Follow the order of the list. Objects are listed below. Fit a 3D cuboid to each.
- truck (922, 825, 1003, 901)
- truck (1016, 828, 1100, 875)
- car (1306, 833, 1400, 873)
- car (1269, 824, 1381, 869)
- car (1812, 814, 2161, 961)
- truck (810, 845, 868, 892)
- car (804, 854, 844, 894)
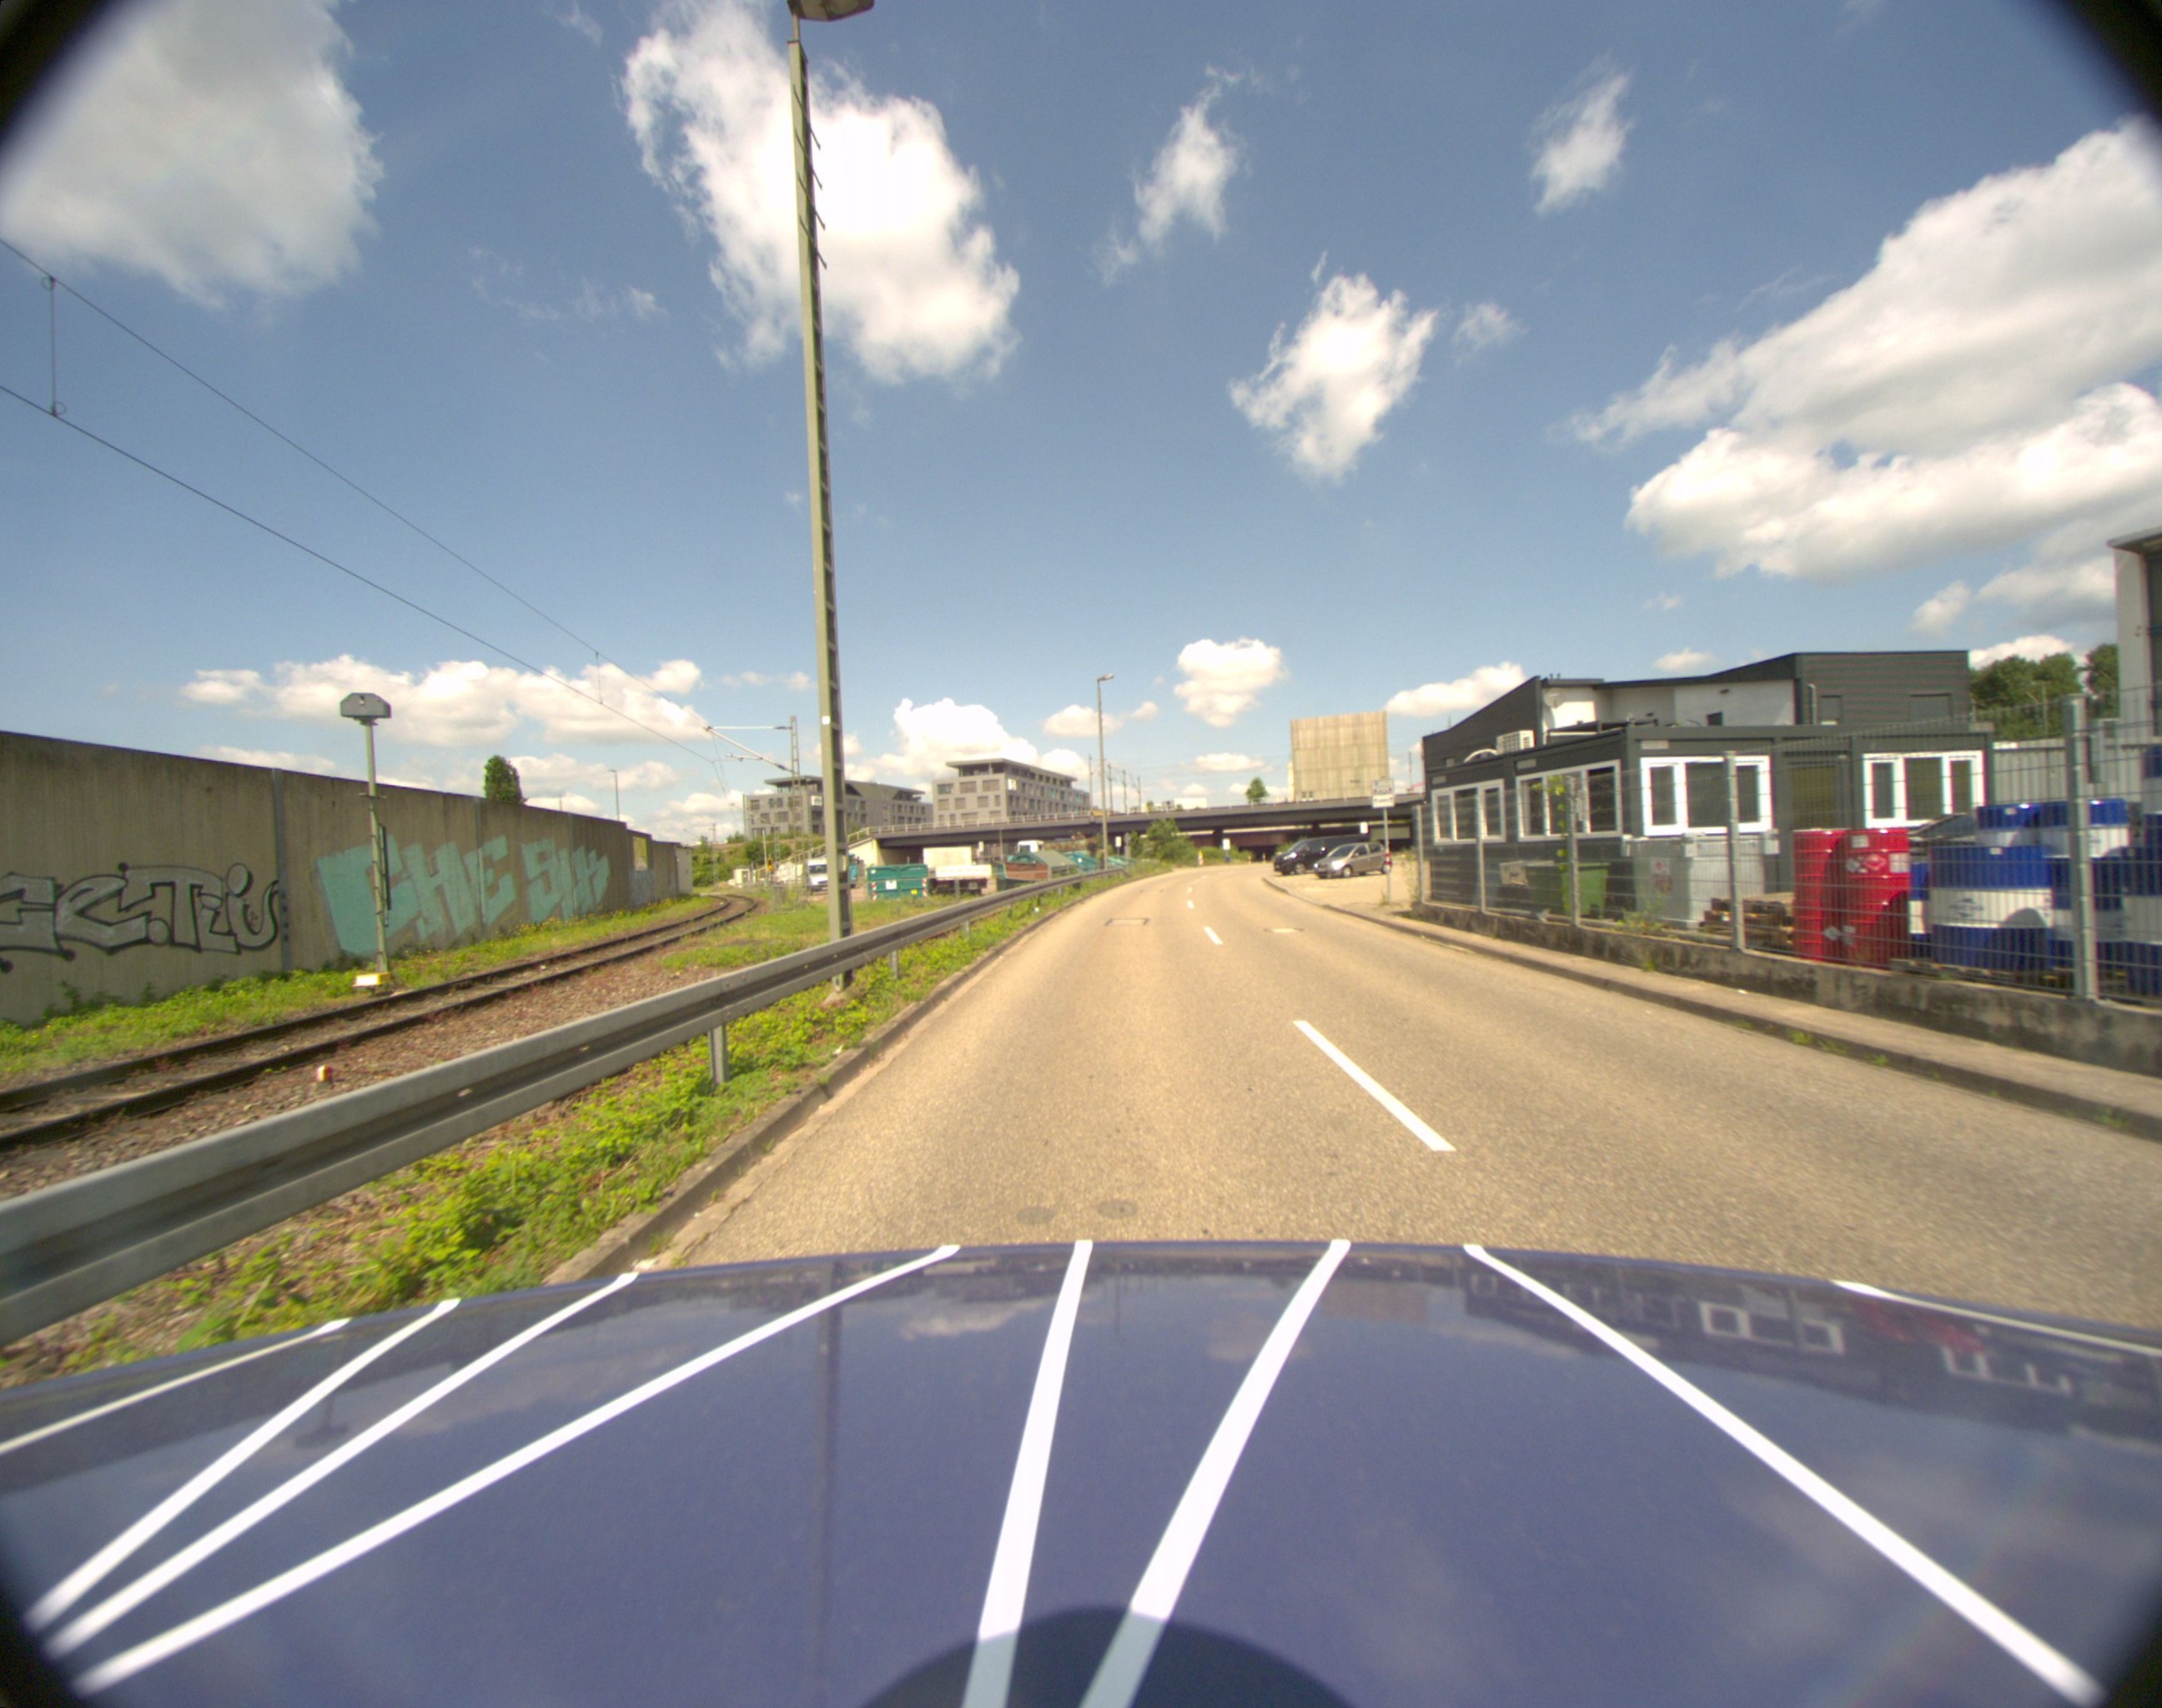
[{"bbox_3d":[-6.314,0.409,39.355,2.997,3.400,8.102,-3,1,-16],"label":"truck"},{"bbox_3d":[-1.615,-0.167,54.179,5.503,3.080,2.002,-2,1,17],"label":"truck"},{"bbox_3d":[12.219,-0.059,34.146,3.699,1.468,1.794,-5,0,-25],"label":"car"},{"bbox_3d":[13.114,-0.391,40.985,5.343,1.905,1.998,-5,1,-10],"label":"car"},{"bbox_3d":[11.117,0.277,8.692,4.211,1.325,1.731,-3,3,-8],"label":"car"},{"bbox_3d":[-20.648,1.186,64.606,2.659,3.625,6.871,-6,2,-33],"label":"truck"},{"bbox_3d":[-18.140,1.342,53.438,2.068,2.512,5.871,-5,1,-23],"label":"car"}]
